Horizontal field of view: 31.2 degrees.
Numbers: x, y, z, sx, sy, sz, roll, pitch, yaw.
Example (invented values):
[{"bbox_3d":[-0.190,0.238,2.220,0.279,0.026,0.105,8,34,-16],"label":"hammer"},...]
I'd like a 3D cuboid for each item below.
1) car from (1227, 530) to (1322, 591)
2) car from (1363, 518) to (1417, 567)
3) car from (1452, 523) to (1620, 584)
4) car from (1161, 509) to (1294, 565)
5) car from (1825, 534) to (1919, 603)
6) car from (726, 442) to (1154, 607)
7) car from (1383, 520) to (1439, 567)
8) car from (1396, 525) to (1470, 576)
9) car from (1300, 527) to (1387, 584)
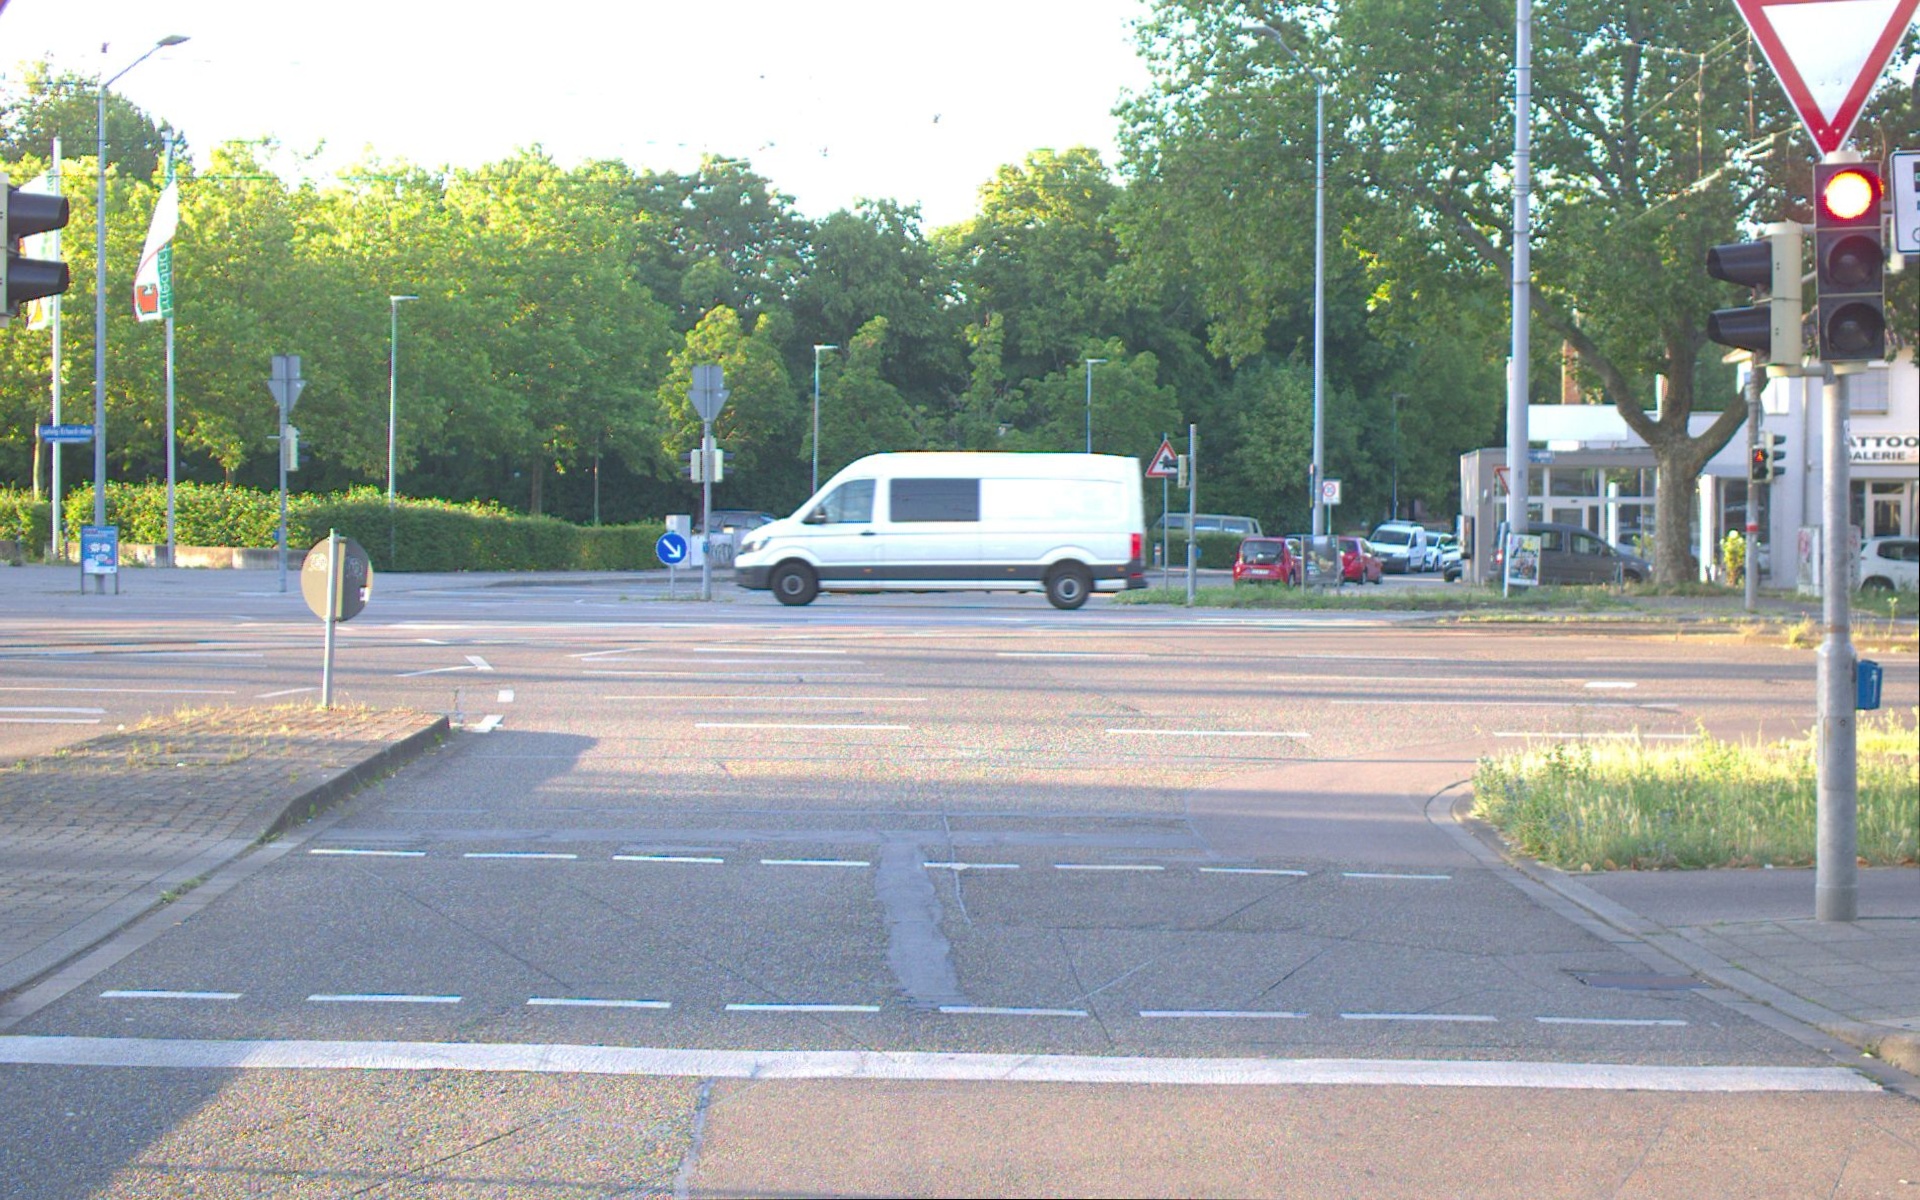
[{"bbox_3d":[8.773,-1.087,95.684,1.995,1.656,3.997,1,0,15],"label":"car"},{"bbox_3d":[16.423,-2.175,131.186,1.864,1.788,3.998,1,0,10],"label":"car"},{"bbox_3d":[14.908,-1.205,89.165,4.220,1.547,1.999,1,0,7],"label":"car"},{"bbox_3d":[9.779,-2.305,125.872,4.774,1.999,2.000,0,0,2],"label":"car"},{"bbox_3d":[20.184,-0.654,72.302,3.741,1.435,1.663,1,0,9],"label":"car"},{"bbox_3d":[-0.329,-1.230,57.062,6.918,2.627,2.811,0,0,0],"label":"car"},{"bbox_3d":[17.878,-2.237,136.081,1.864,1.788,3.998,1,0,12],"label":"car"},{"bbox_3d":[15.918,-1.663,115.595,1.995,1.656,3.997,1,0,15],"label":"car"},{"bbox_3d":[11.552,-1.326,103.370,1.995,1.656,3.997,1,0,15],"label":"car"}]
